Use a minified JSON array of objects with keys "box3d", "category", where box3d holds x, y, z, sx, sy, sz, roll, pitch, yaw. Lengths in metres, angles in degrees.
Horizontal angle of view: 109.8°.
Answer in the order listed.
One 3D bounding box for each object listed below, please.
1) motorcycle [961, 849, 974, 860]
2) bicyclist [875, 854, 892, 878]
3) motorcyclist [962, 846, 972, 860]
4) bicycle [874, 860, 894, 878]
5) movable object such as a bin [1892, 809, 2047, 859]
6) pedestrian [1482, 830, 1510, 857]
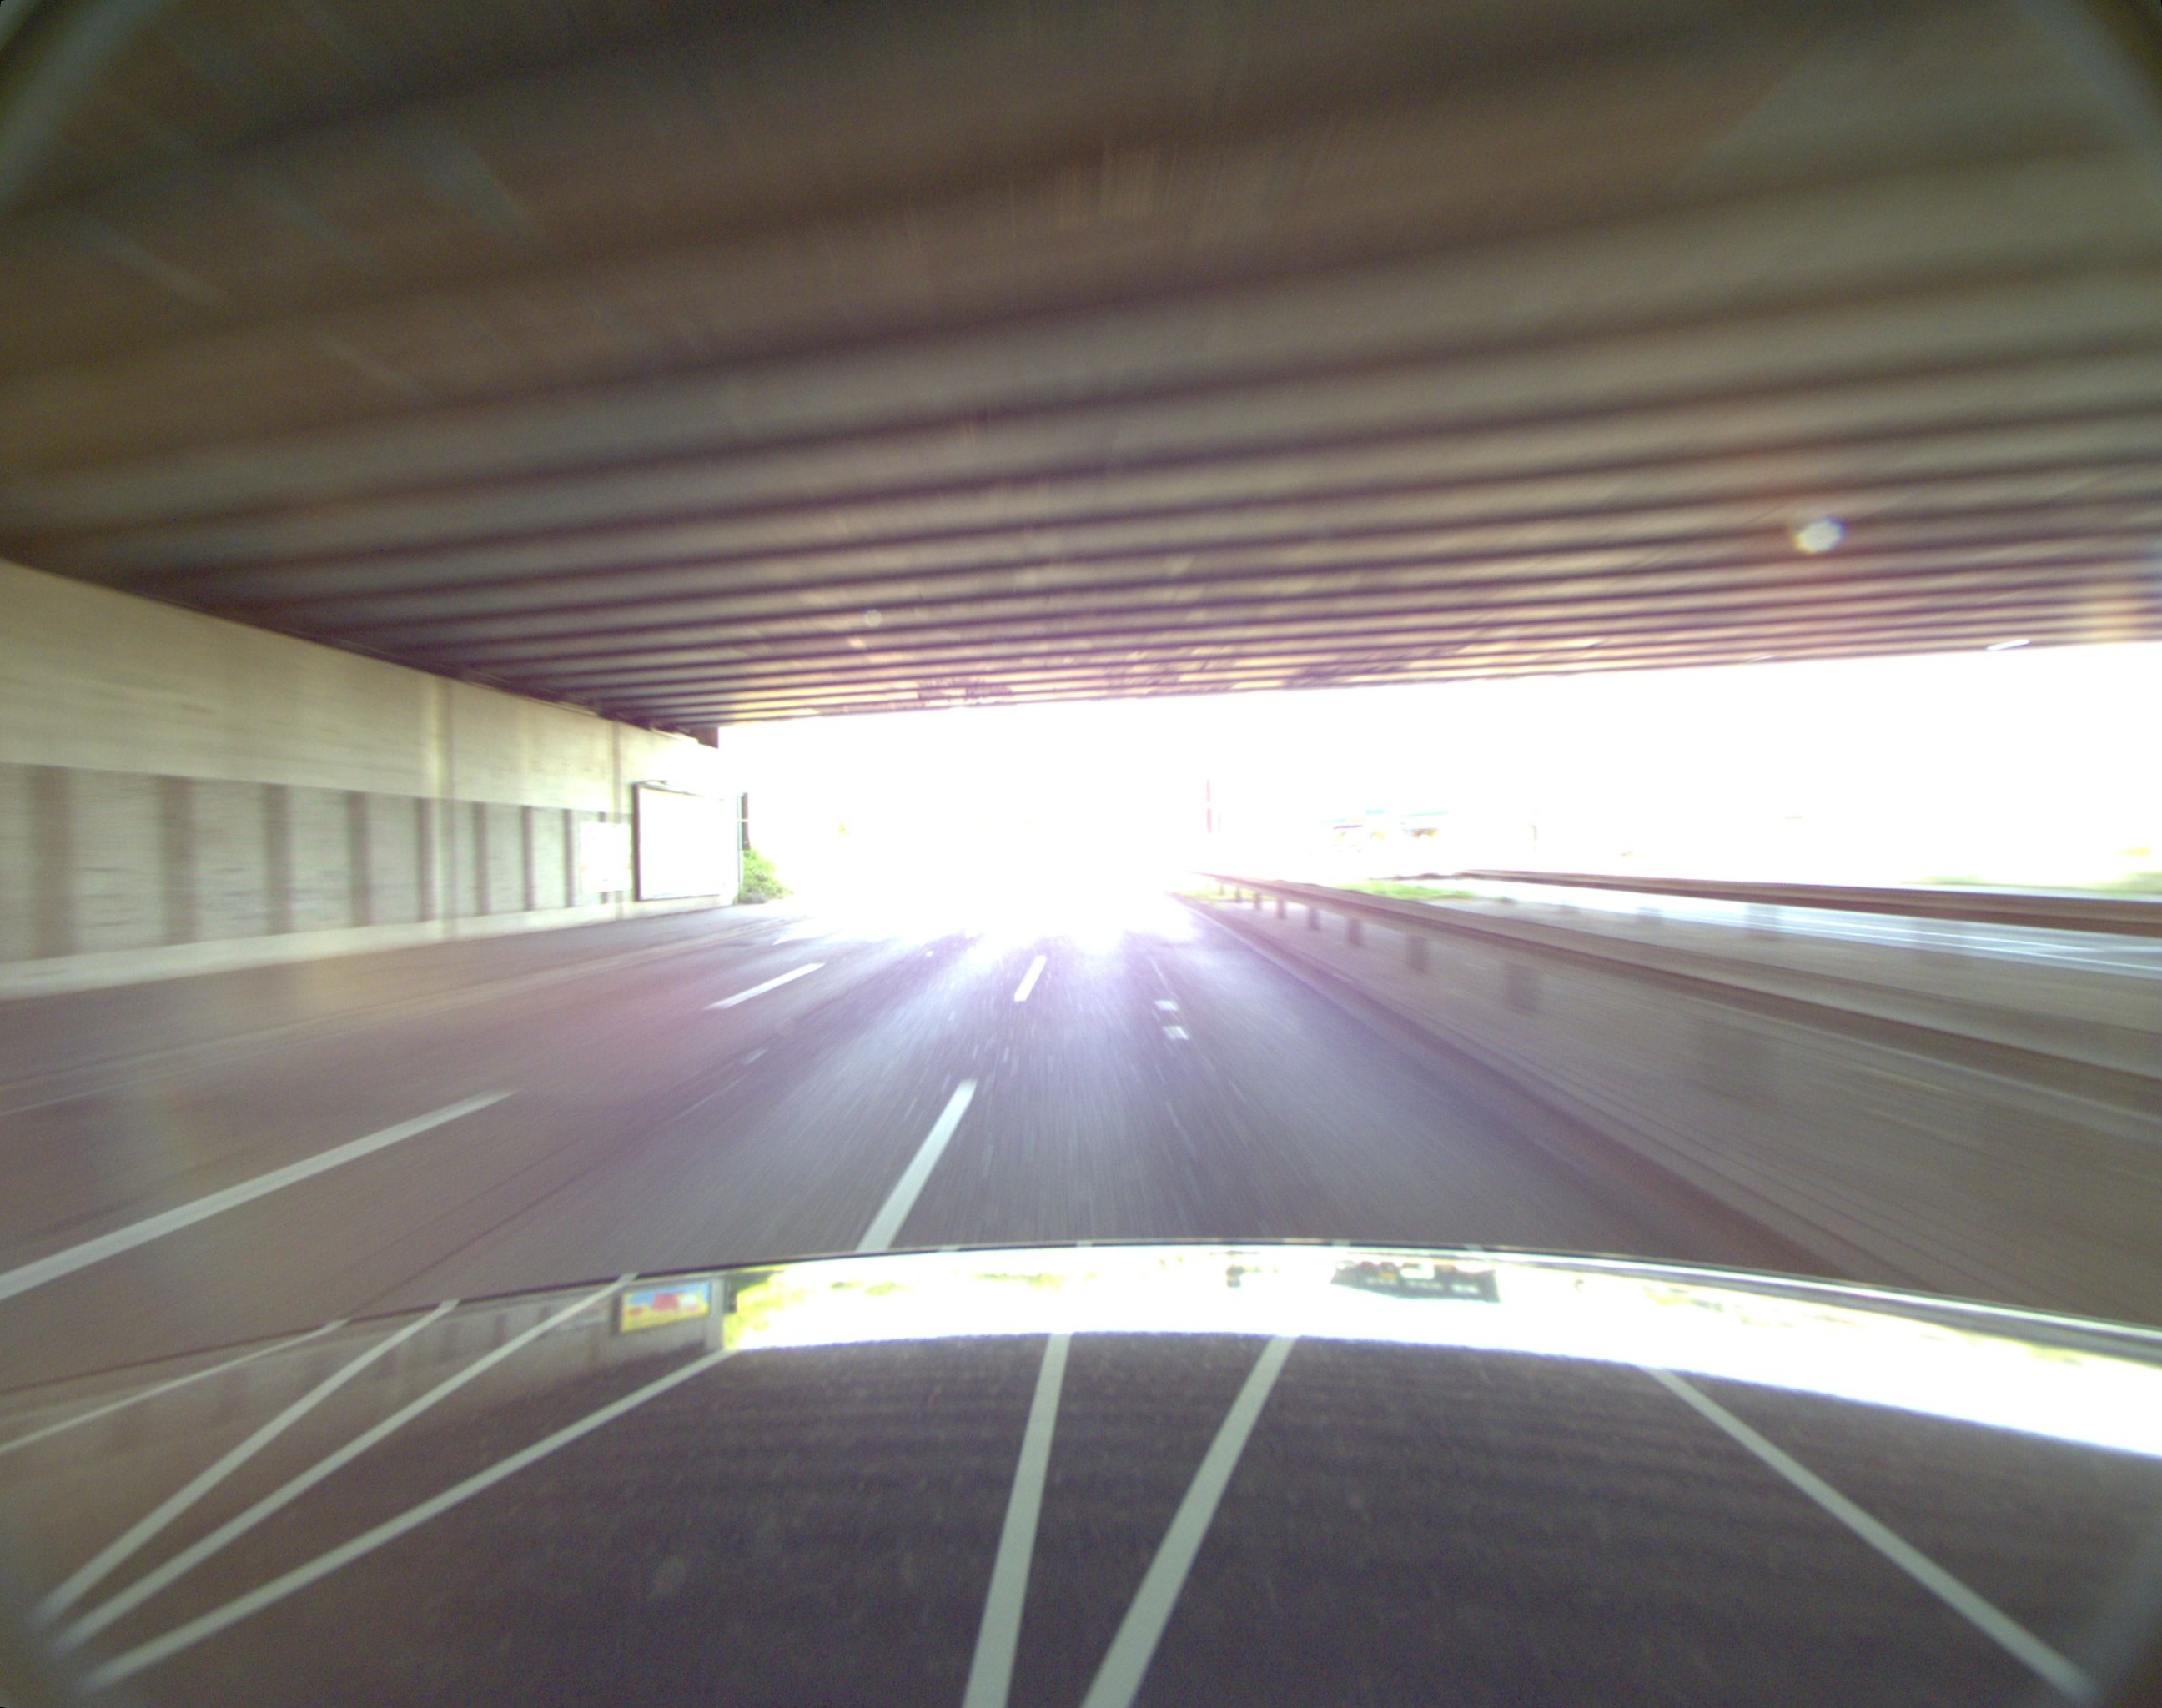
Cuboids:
[{"box3d":[-12.221,0.036,81.707,0.810,1.040,2.353,-3,1,5],"category":"motorcycle"},{"box3d":[-12.457,0.744,47.942,0.844,1.413,1.112,-3,1,-23],"category":"bicyclist"},{"box3d":[-12.245,-0.153,81.670,0.839,1.434,0.878,-3,1,5],"category":"motorcyclist"},{"box3d":[-12.409,0.925,47.919,0.784,1.051,2.491,-3,1,-24],"category":"bicycle"},{"box3d":[61.966,-1.334,53.219,2.449,3.198,6.617,-3,1,-20],"category":"movable object such as a bin"},{"box3d":[28.468,-0.725,52.125,1.275,1.825,1.084,-3,1,-1],"category":"pedestrian"}]
